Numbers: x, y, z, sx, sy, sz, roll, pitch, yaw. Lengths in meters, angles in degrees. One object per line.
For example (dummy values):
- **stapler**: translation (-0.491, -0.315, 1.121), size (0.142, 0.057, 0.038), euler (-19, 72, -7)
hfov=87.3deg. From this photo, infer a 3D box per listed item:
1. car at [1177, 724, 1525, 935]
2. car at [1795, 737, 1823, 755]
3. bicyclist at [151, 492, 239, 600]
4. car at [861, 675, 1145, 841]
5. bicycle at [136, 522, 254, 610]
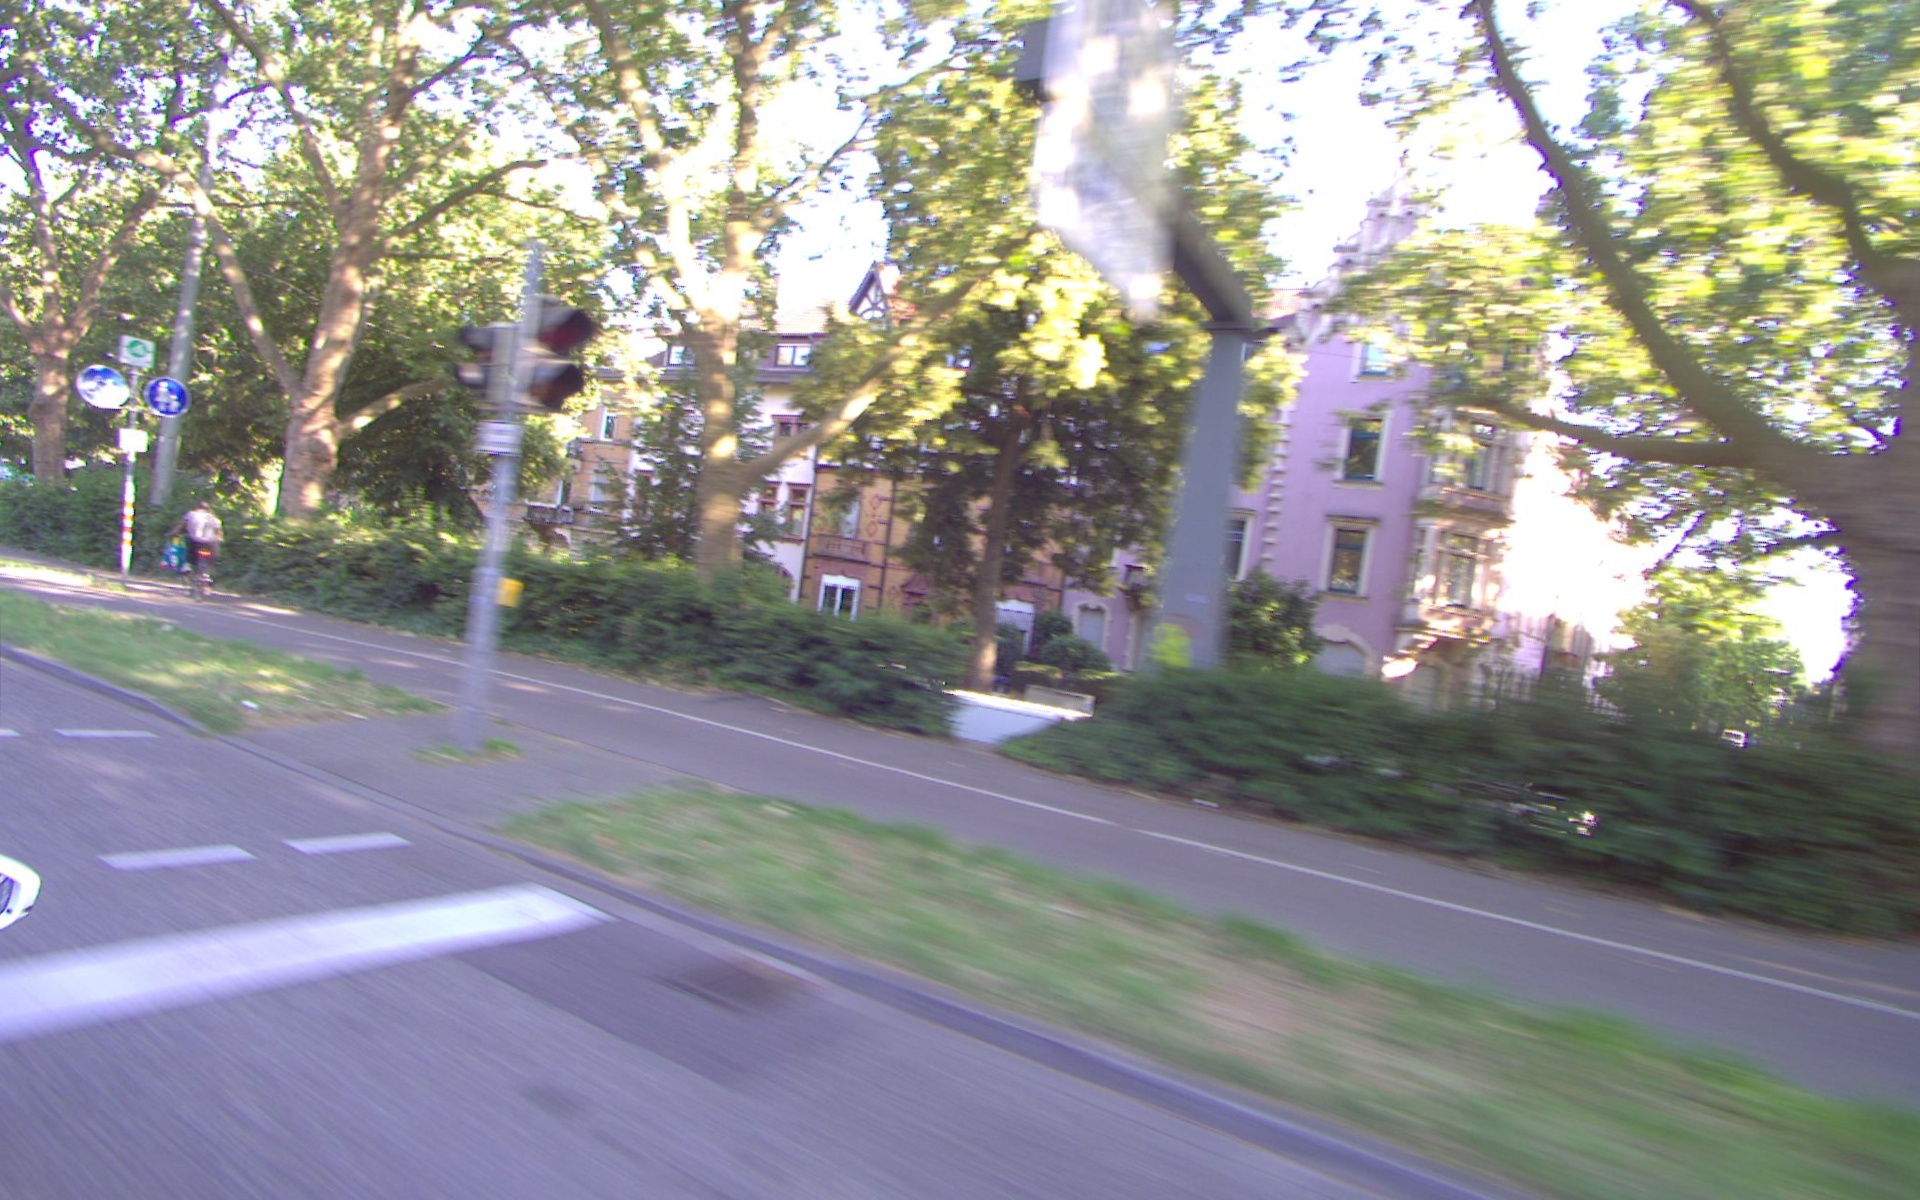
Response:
- **car**: translation (5.341, 2.955, 13.839), size (4.031, 1.833, 1.907), euler (7, -1, 31)
- **car**: translation (86.602, 14.846, 102.689), size (1.773, 1.527, 3.990), euler (6, -2, 37)
- **bicyclist**: translation (-11.853, -0.827, 15.600), size (0.639, 1.531, 0.767), euler (8, 0, 31)
- **car**: translation (0.670, 2.462, 16.450), size (4.031, 1.833, 1.907), euler (7, -1, 31)
- **bicycle**: translation (-11.882, -0.532, 15.609), size (1.770, 1.121, 0.767), euler (7, 0, 31)
